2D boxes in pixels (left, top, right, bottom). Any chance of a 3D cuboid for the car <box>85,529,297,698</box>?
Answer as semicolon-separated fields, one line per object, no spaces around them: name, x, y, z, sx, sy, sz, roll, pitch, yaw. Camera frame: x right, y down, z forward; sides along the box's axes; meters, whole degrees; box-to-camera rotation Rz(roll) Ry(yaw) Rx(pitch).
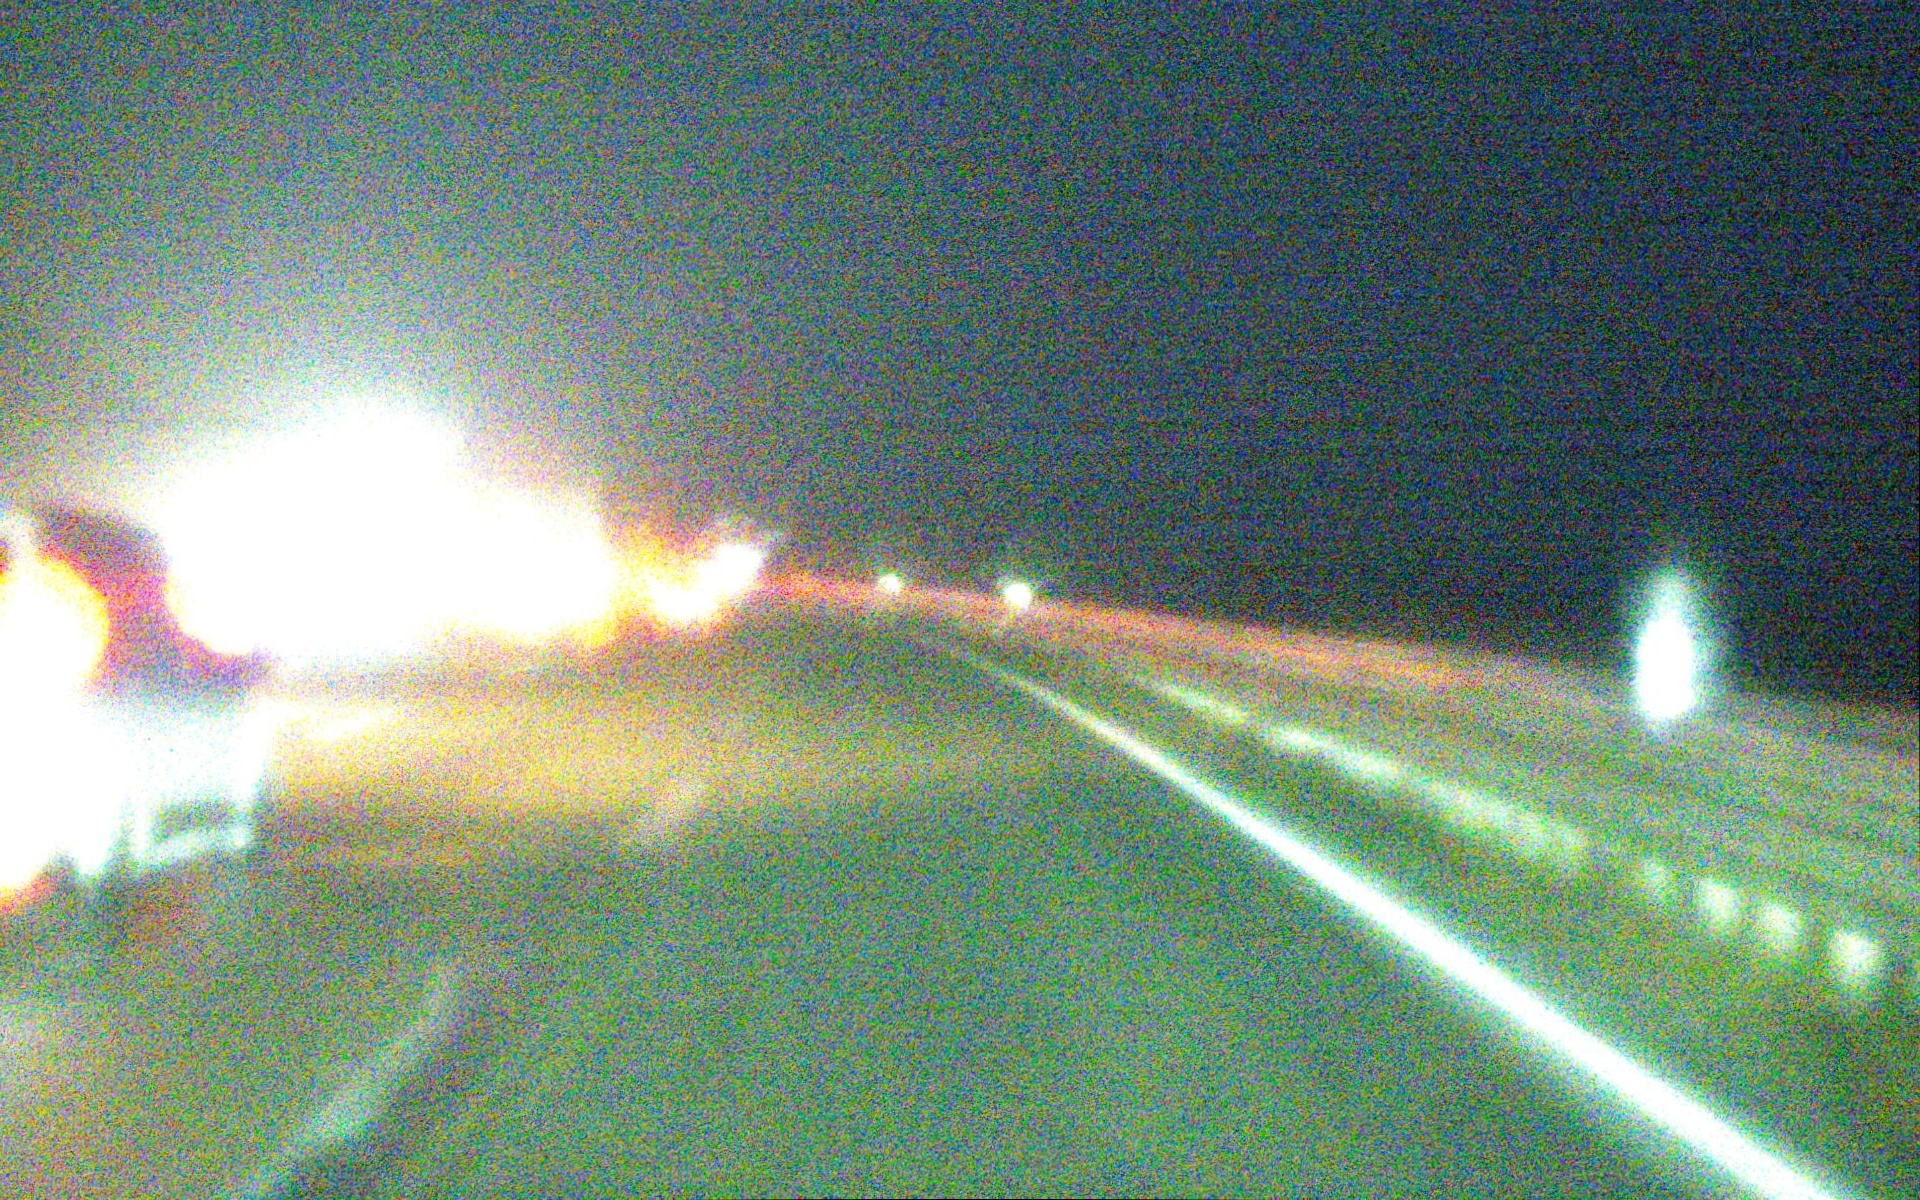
car;-10.079;0.146;45.377;1.993;2.007;4.568;3;0;-4

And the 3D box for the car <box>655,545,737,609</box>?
car;-7.984;-0.690;104.152;1.993;1.812;4.000;3;0;1

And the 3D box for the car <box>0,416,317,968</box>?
car;-4.216;0.316;14.992;1.993;2.007;5.017;0;0;-1

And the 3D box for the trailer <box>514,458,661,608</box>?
trailer;-10.207;-1.757;95.612;2.591;3.712;13.653;4;0;-1

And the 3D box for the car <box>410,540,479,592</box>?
car;-17.368;-1.163;116.011;1.993;1.612;4.001;3;0;-5

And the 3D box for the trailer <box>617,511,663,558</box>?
trailer;-20.159;-4.089;217.031;2.687;2.690;12.860;3;0;-5
